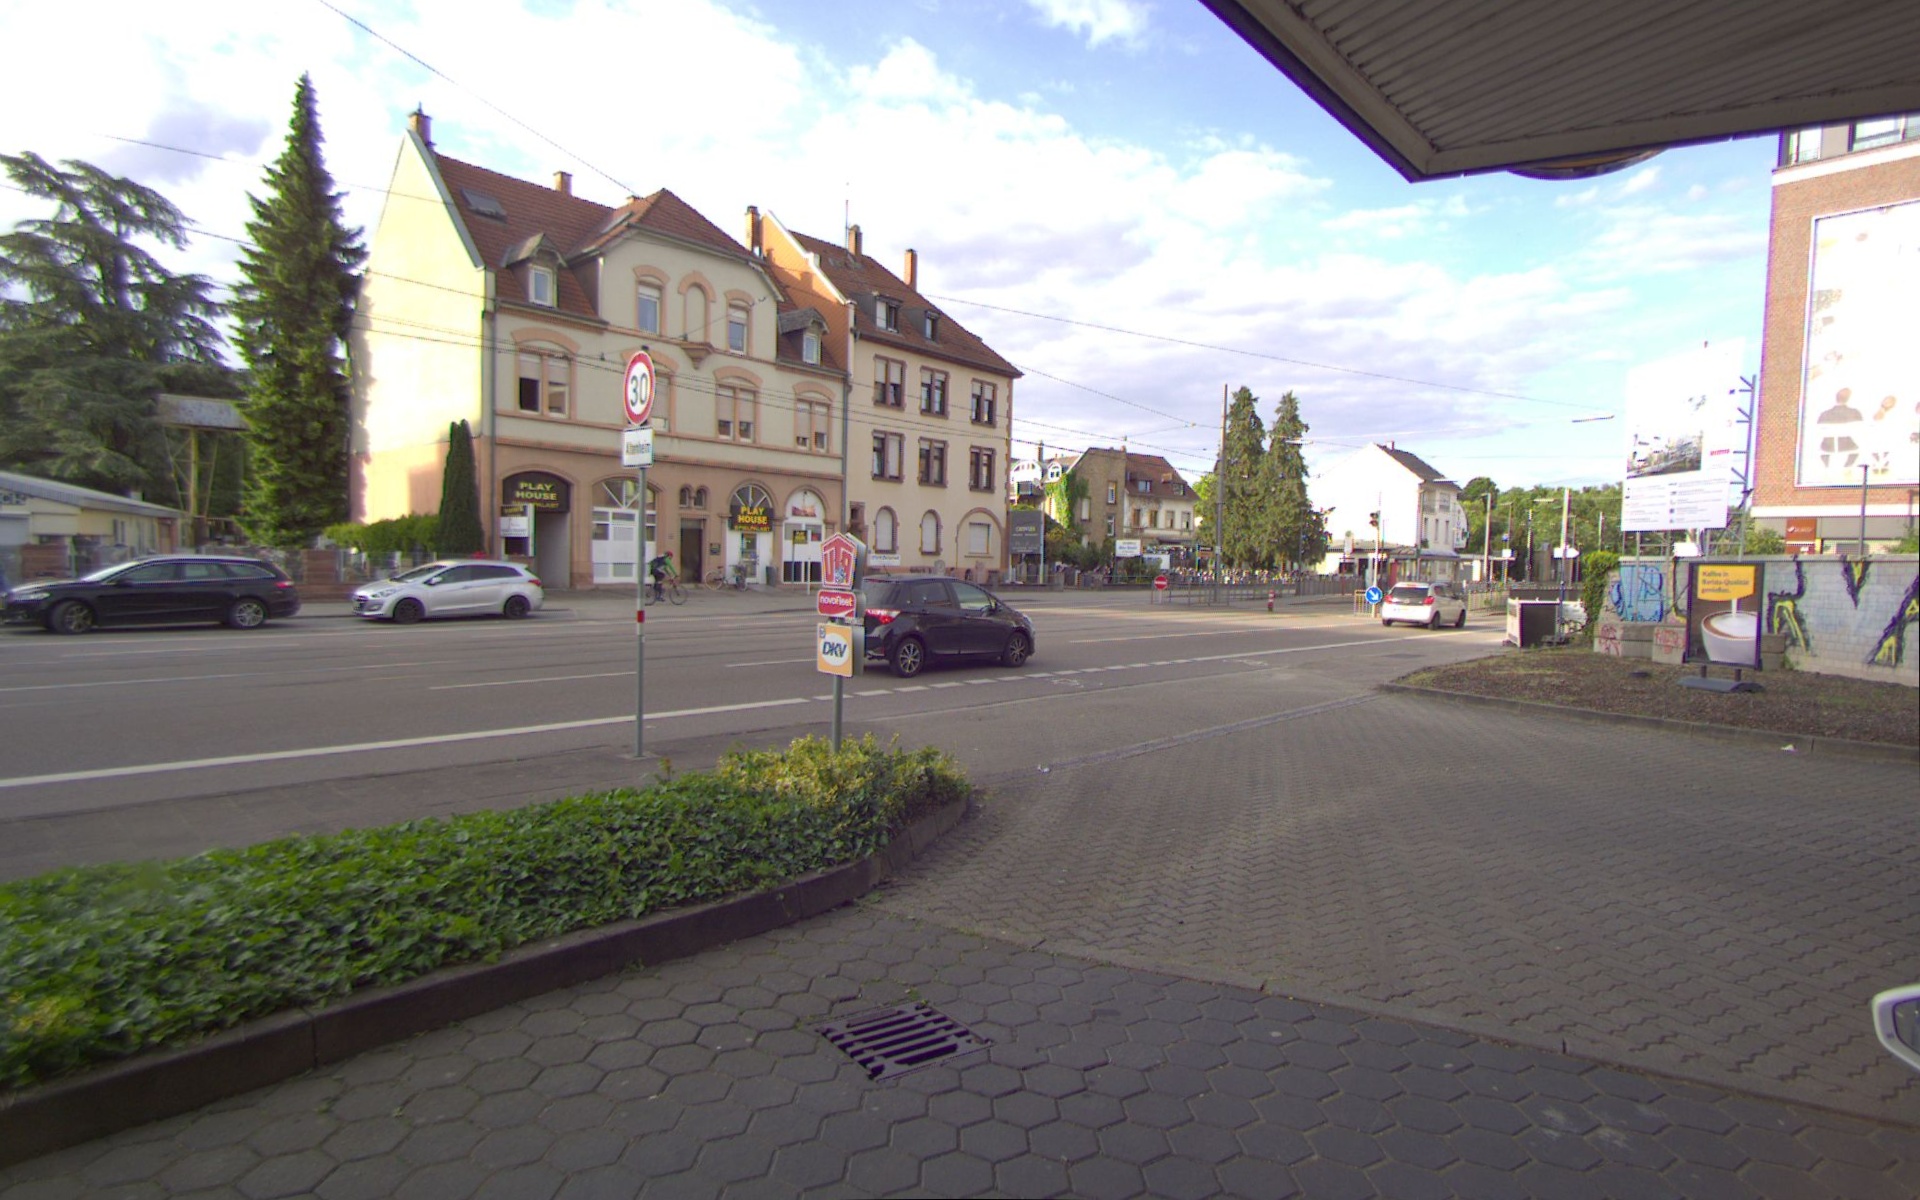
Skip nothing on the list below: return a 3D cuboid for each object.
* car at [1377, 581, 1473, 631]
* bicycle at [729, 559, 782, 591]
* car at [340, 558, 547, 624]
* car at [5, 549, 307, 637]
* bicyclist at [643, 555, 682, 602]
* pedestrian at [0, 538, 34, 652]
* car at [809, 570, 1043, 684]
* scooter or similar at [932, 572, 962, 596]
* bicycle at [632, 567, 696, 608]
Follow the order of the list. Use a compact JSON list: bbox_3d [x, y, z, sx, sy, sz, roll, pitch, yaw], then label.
[{"bbox_3d":[14.874,0.137,32.036,1.649,1.419,3.687,5,4,43],"label":"car"},{"bbox_3d":[-8.245,-1.001,40.619,0.741,1.219,2.011,8,5,41],"label":"bicycle"},{"bbox_3d":[-12.925,-0.250,25.347,1.718,1.502,4.357,3,2,41],"label":"car"},{"bbox_3d":[-16.483,-0.173,20.808,1.827,1.542,4.642,5,4,40],"label":"car"},{"bbox_3d":[-9.455,-0.691,31.939,0.741,1.428,0.916,8,6,41],"label":"bicyclist"},{"bbox_3d":[-14.942,-0.086,15.443,0.911,1.723,0.905,3,3,39],"label":"pedestrian"},{"bbox_3d":[-0.473,0.347,16.346,1.649,1.568,3.687,5,4,43],"label":"car"},{"bbox_3d":[-0.564,-0.717,45.084,0.437,1.006,1.460,6,5,41],"label":"scooter or similar"},{"bbox_3d":[-9.425,-0.420,31.987,0.741,1.219,1.811,8,6,41],"label":"bicycle"}]
